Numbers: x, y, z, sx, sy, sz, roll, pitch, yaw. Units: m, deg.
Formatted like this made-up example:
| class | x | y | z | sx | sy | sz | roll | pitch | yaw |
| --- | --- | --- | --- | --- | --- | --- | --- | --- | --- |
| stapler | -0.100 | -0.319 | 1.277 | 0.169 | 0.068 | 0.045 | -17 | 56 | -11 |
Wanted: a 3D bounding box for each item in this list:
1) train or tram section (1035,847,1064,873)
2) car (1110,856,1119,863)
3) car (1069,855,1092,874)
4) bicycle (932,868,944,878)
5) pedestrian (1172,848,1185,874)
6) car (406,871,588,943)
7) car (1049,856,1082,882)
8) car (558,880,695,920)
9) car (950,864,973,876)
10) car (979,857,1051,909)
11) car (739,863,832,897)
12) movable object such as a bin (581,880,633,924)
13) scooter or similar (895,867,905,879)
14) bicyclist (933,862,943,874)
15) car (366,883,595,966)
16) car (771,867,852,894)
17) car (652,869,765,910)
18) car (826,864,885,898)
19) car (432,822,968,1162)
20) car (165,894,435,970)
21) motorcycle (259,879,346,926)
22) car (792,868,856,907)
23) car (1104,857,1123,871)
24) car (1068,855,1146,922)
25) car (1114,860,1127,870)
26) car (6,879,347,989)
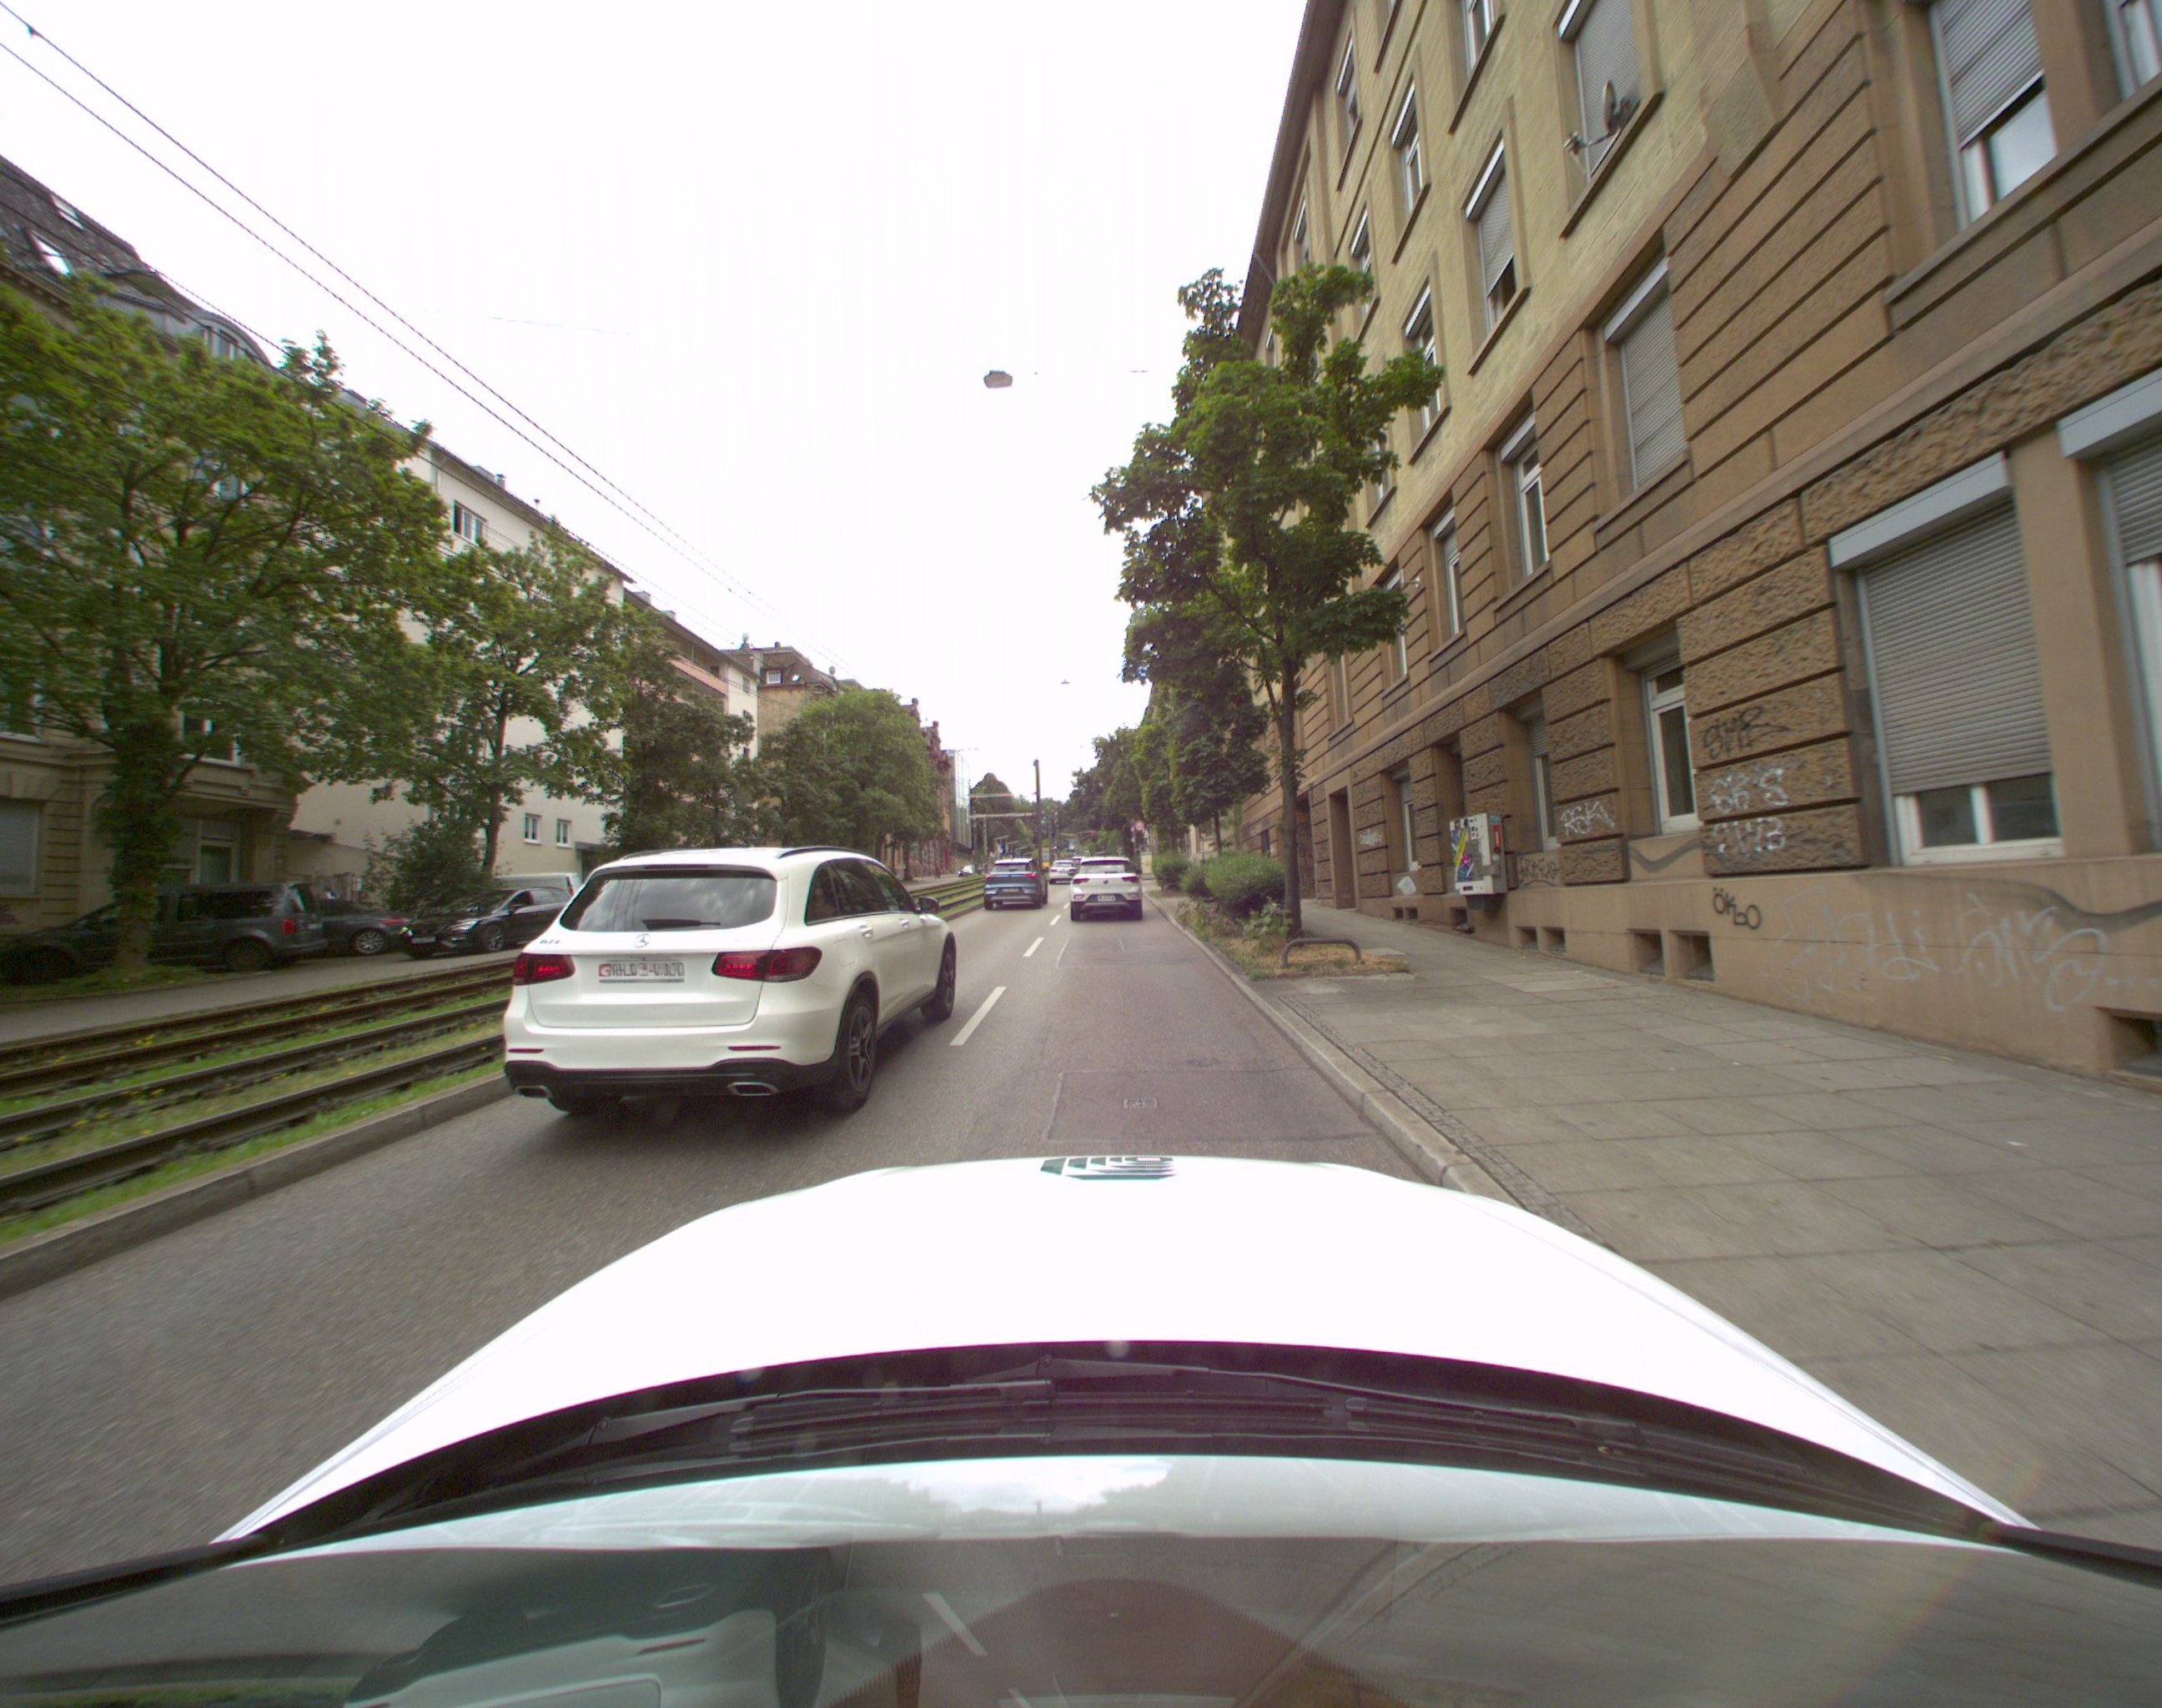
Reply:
| class | x | y | z | sx | sy | sz | roll | pitch | yaw |
| --- | --- | --- | --- | --- | --- | --- | --- | --- | --- |
| train or tram section | -4.435 | 0.885 | 117.457 | 2.984 | 3.349 | 13.447 | -2 | -1 | 3 |
| car | 7.687 | 1.338 | 189.266 | 2.060 | 1.546 | 4.195 | -1 | -1 | 2 |
| car | -0.005 | 0.928 | 71.446 | 1.828 | 1.546 | 4.195 | -1 | -1 | 2 |
| bicycle | -17.461 | 2.278 | 99.603 | 0.935 | 1.100 | 2.704 | -2 | 0 | 2 |
| pedestrian | 6.422 | 0.462 | 53.666 | 0.705 | 1.662 | 1.131 | -3 | 0 | 12 |
| car | -17.764 | 1.562 | 25.034 | 4.199 | 1.836 | 1.856 | -3 | 0 | -26 |
| car | -0.940 | 0.927 | 51.077 | 1.828 | 1.546 | 4.195 | -1 | -1 | 2 |
| car | -17.965 | 1.775 | 32.334 | 4.623 | 1.344 | 1.917 | -1 | -1 | -32 |
| car | -14.477 | 1.921 | 99.187 | 1.985 | 1.403 | 4.003 | -2 | -1 | 3 |
| car | -2.064 | 0.890 | 26.529 | 1.828 | 1.546 | 4.195 | -1 | -1 | 2 |
| car | -16.948 | 1.447 | 46.886 | 1.912 | 1.797 | 4.634 | -2 | -1 | 45 |
| movable object such as a bin | -16.388 | 1.644 | 28.209 | 1.276 | 1.401 | 1.091 | -1 | -1 | -14 |
| scooter or similar | -19.940 | 2.133 | 89.841 | 0.627 | 1.255 | 2.214 | -2 | 0 | -1 |
| bicyclist | -17.493 | 1.703 | 99.652 | 0.935 | 1.425 | 1.188 | -2 | 0 | 1 |
| car | -13.789 | 1.542 | 19.115 | 1.859 | 1.435 | 4.494 | -5 | -1 | 1 |
| car | -17.449 | 1.710 | 52.786 | 4.624 | 1.617 | 1.916 | -1 | -1 | -33 |
| car | -17.345 | 1.604 | 37.964 | 4.623 | 1.682 | 1.917 | -1 | -1 | -32 |
| car | -12.693 | 1.460 | 46.112 | 1.910 | 1.650 | 4.608 | -4 | 0 | 1 |
| car | -2.237 | 0.706 | 6.397 | 1.828 | 1.667 | 4.673 | -1 | -1 | 2 |
| car | -18.132 | 1.754 | 19.216 | 4.202 | 1.339 | 1.854 | -3 | 0 | -28 |
| motorcycle | -25.970 | 1.617 | 27.173 | 2.167 | 1.417 | 0.769 | -3 | 0 | 3 |
| car | -11.082 | 1.412 | 35.328 | 1.582 | 1.435 | 3.413 | -4 | 0 | 1 |
| car | 3.700 | 1.127 | 91.934 | 2.060 | 1.546 | 4.195 | -1 | -1 | 2 |
| car | 0.649 | 0.835 | 21.303 | 1.829 | 1.546 | 4.194 | -1 | -1 | 1 |
| car | 6.523 | 1.847 | 133.327 | 2.060 | 1.546 | 4.195 | -1 | -1 | 2 |
| car | -18.046 | 1.510 | 16.589 | 4.202 | 1.767 | 1.854 | -3 | 0 | -28 |
